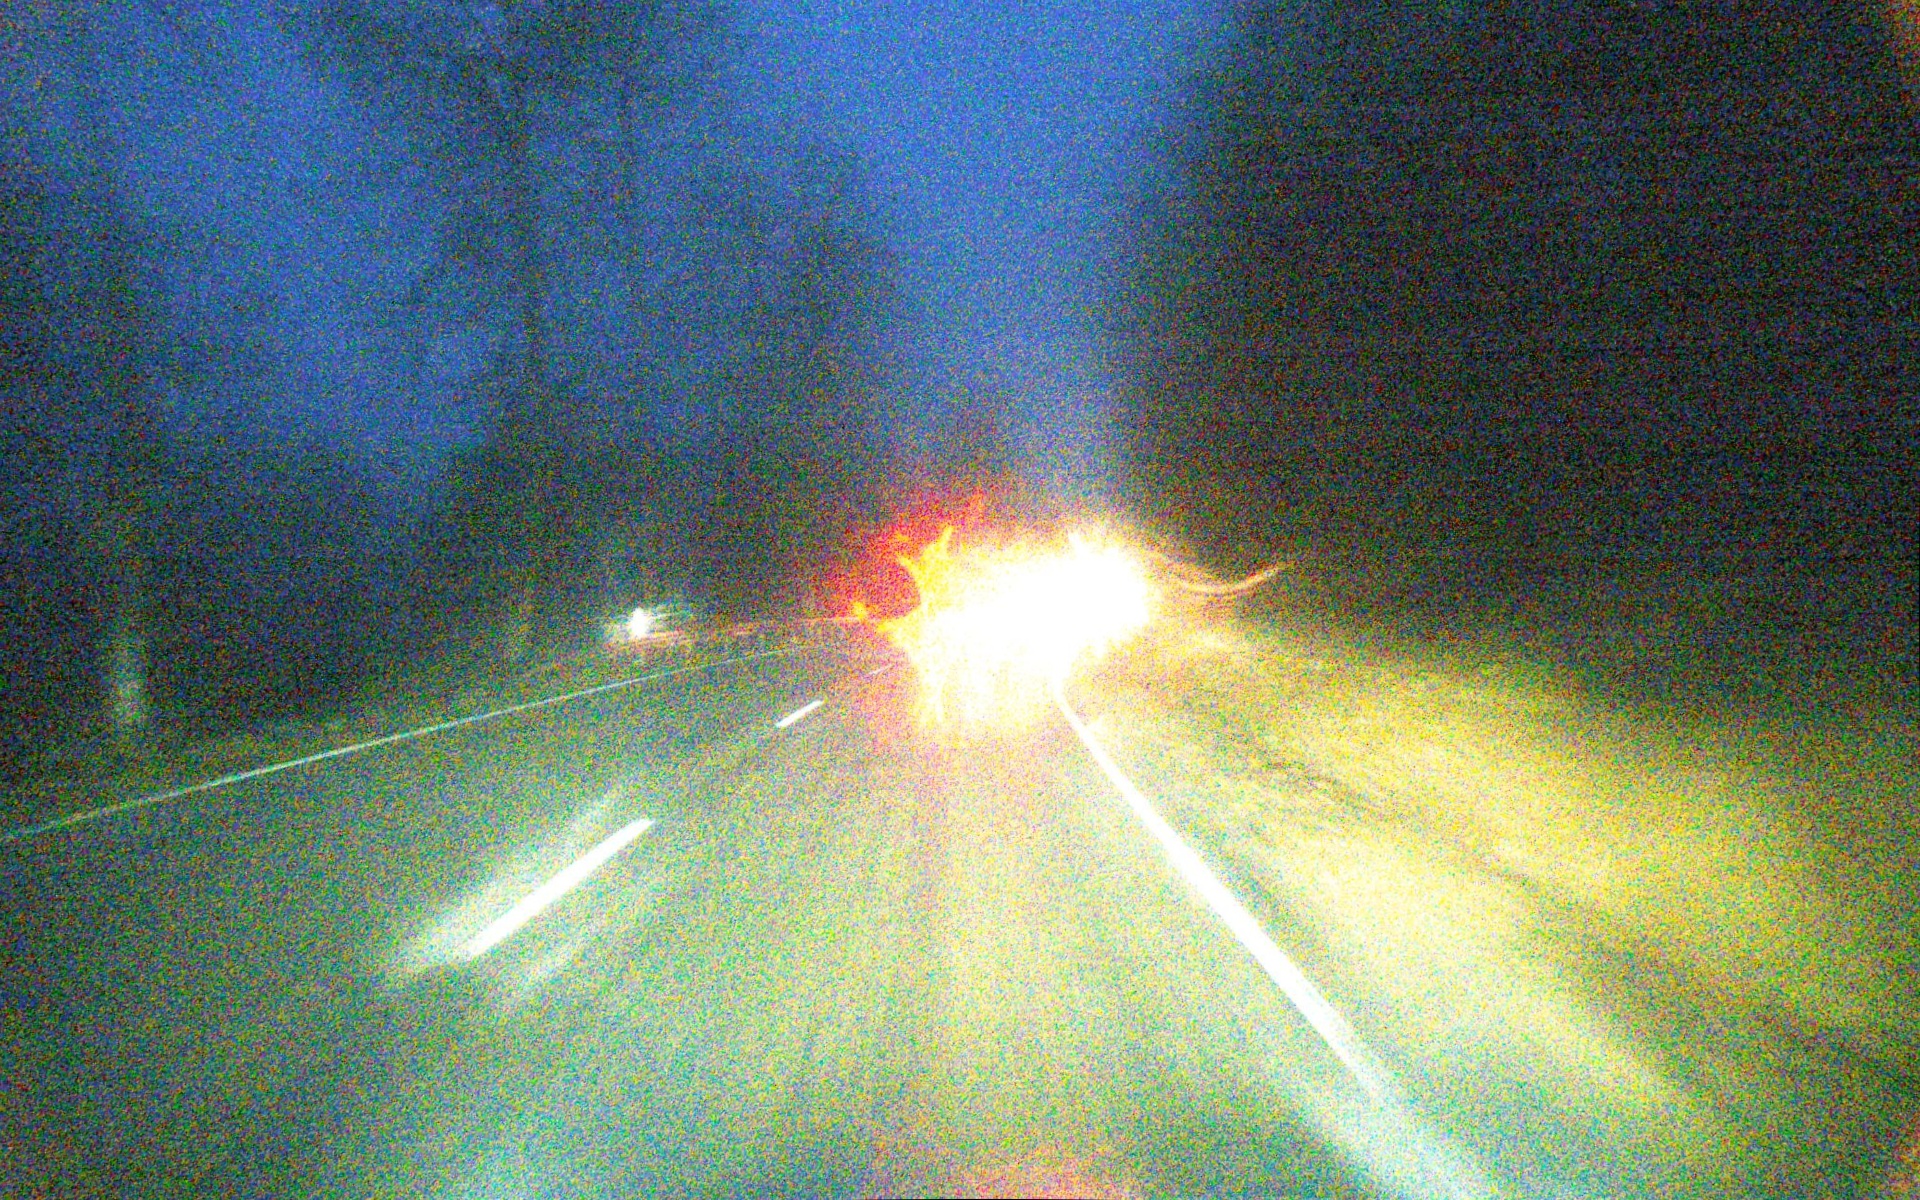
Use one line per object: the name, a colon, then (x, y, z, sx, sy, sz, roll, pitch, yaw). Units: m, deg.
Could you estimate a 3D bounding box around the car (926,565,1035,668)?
car: (0.471, 0.268, 32.897, 1.952, 1.838, 3.919, -3, 1, 2)
